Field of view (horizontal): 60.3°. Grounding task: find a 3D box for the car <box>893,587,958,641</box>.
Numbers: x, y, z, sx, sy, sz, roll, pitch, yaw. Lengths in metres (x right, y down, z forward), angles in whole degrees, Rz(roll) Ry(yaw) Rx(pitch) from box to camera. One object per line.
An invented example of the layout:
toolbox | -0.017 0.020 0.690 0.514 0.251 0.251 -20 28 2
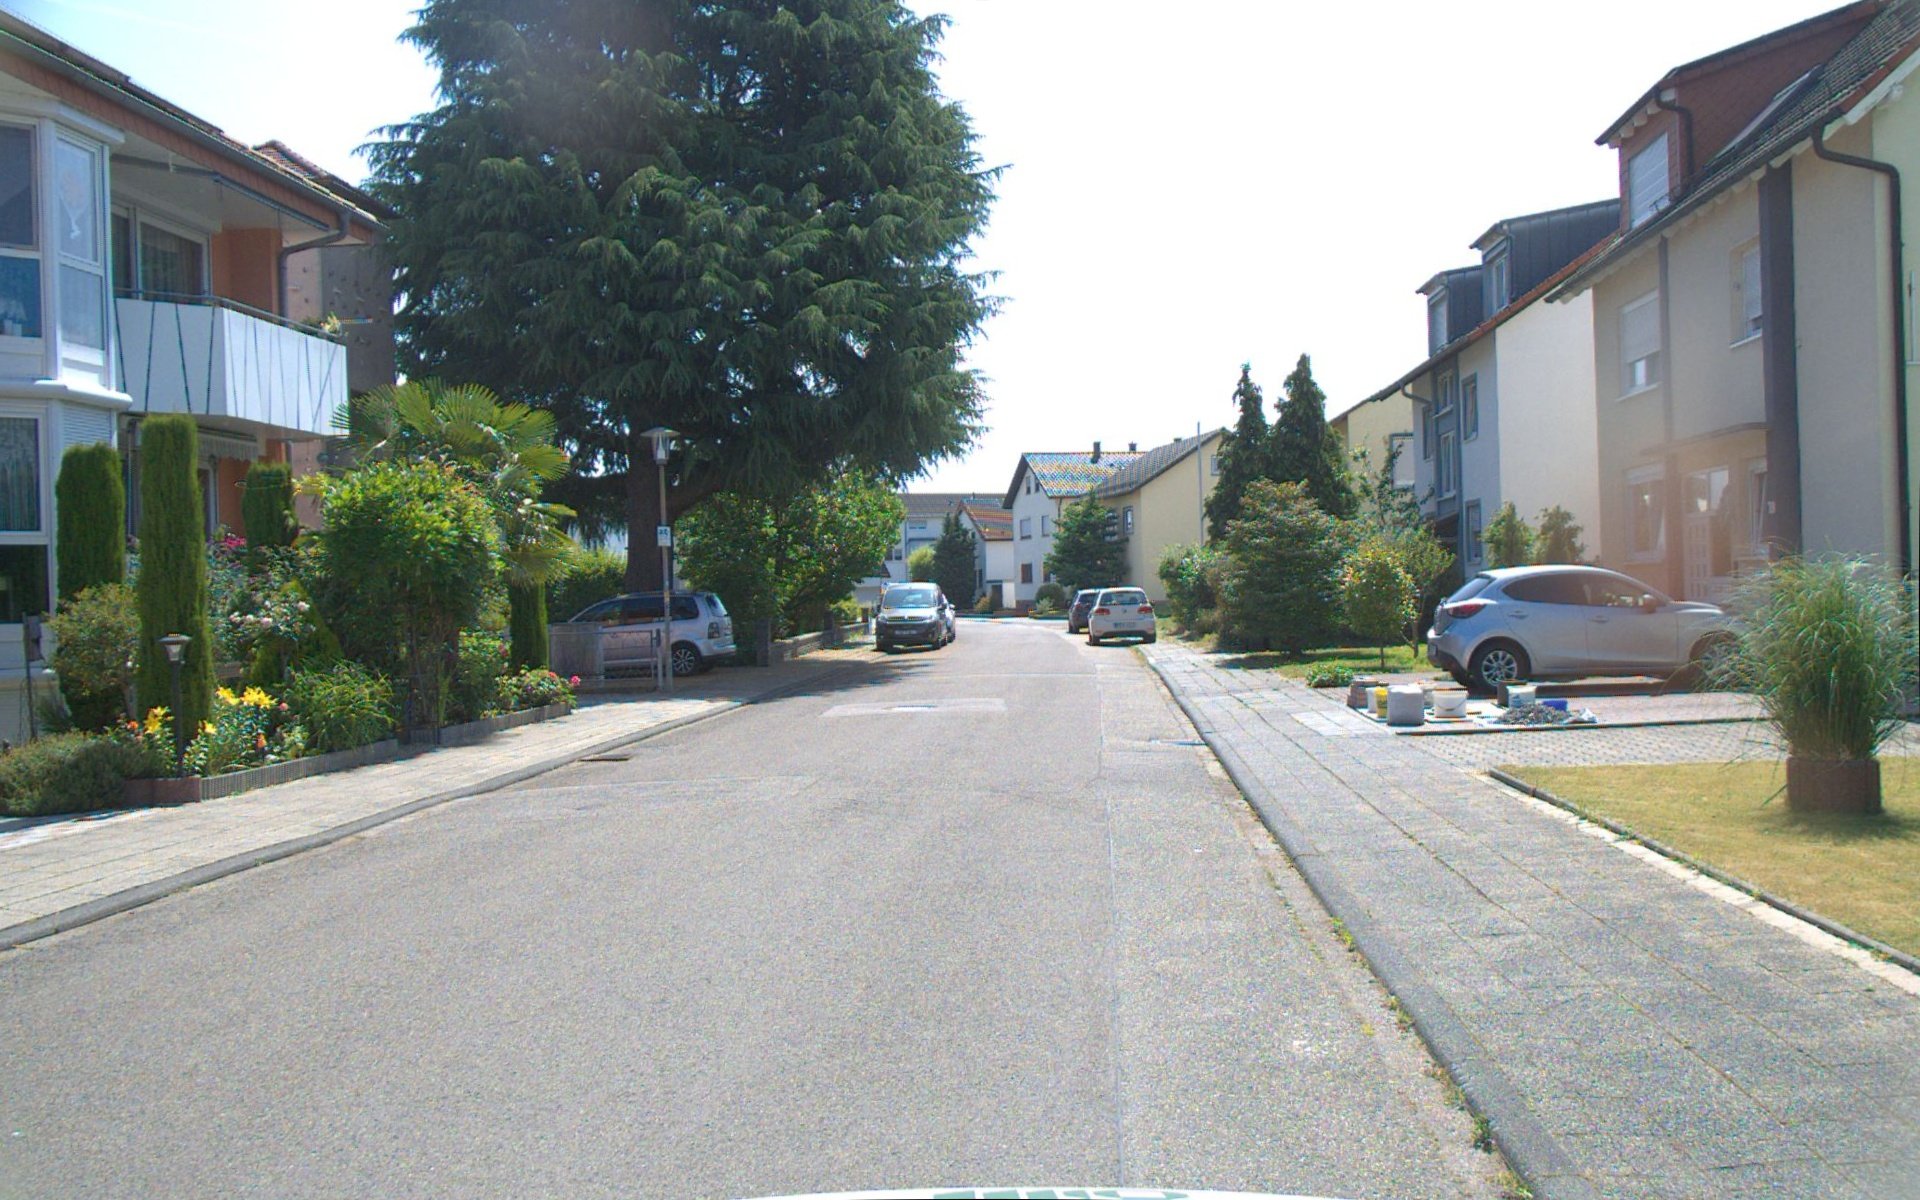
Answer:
car | -1.027 0.401 51.342 1.770 1.521 4.001 -2 0 2

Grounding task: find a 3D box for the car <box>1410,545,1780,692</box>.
car | 7.655 0.211 20.233 3.831 1.536 1.775 -3 0 5

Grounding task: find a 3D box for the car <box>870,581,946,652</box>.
car | -1.364 0.407 45.152 1.770 1.793 4.207 -2 0 2

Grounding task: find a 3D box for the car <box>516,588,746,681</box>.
car | -6.564 0.670 33.222 4.103 1.682 1.815 -2 0 7

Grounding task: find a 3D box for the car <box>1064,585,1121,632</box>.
car | 4.612 0.263 58.010 1.770 1.521 4.001 -2 0 2

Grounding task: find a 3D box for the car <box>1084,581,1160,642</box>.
car | 4.380 0.278 45.252 1.770 1.521 4.001 -2 0 2
